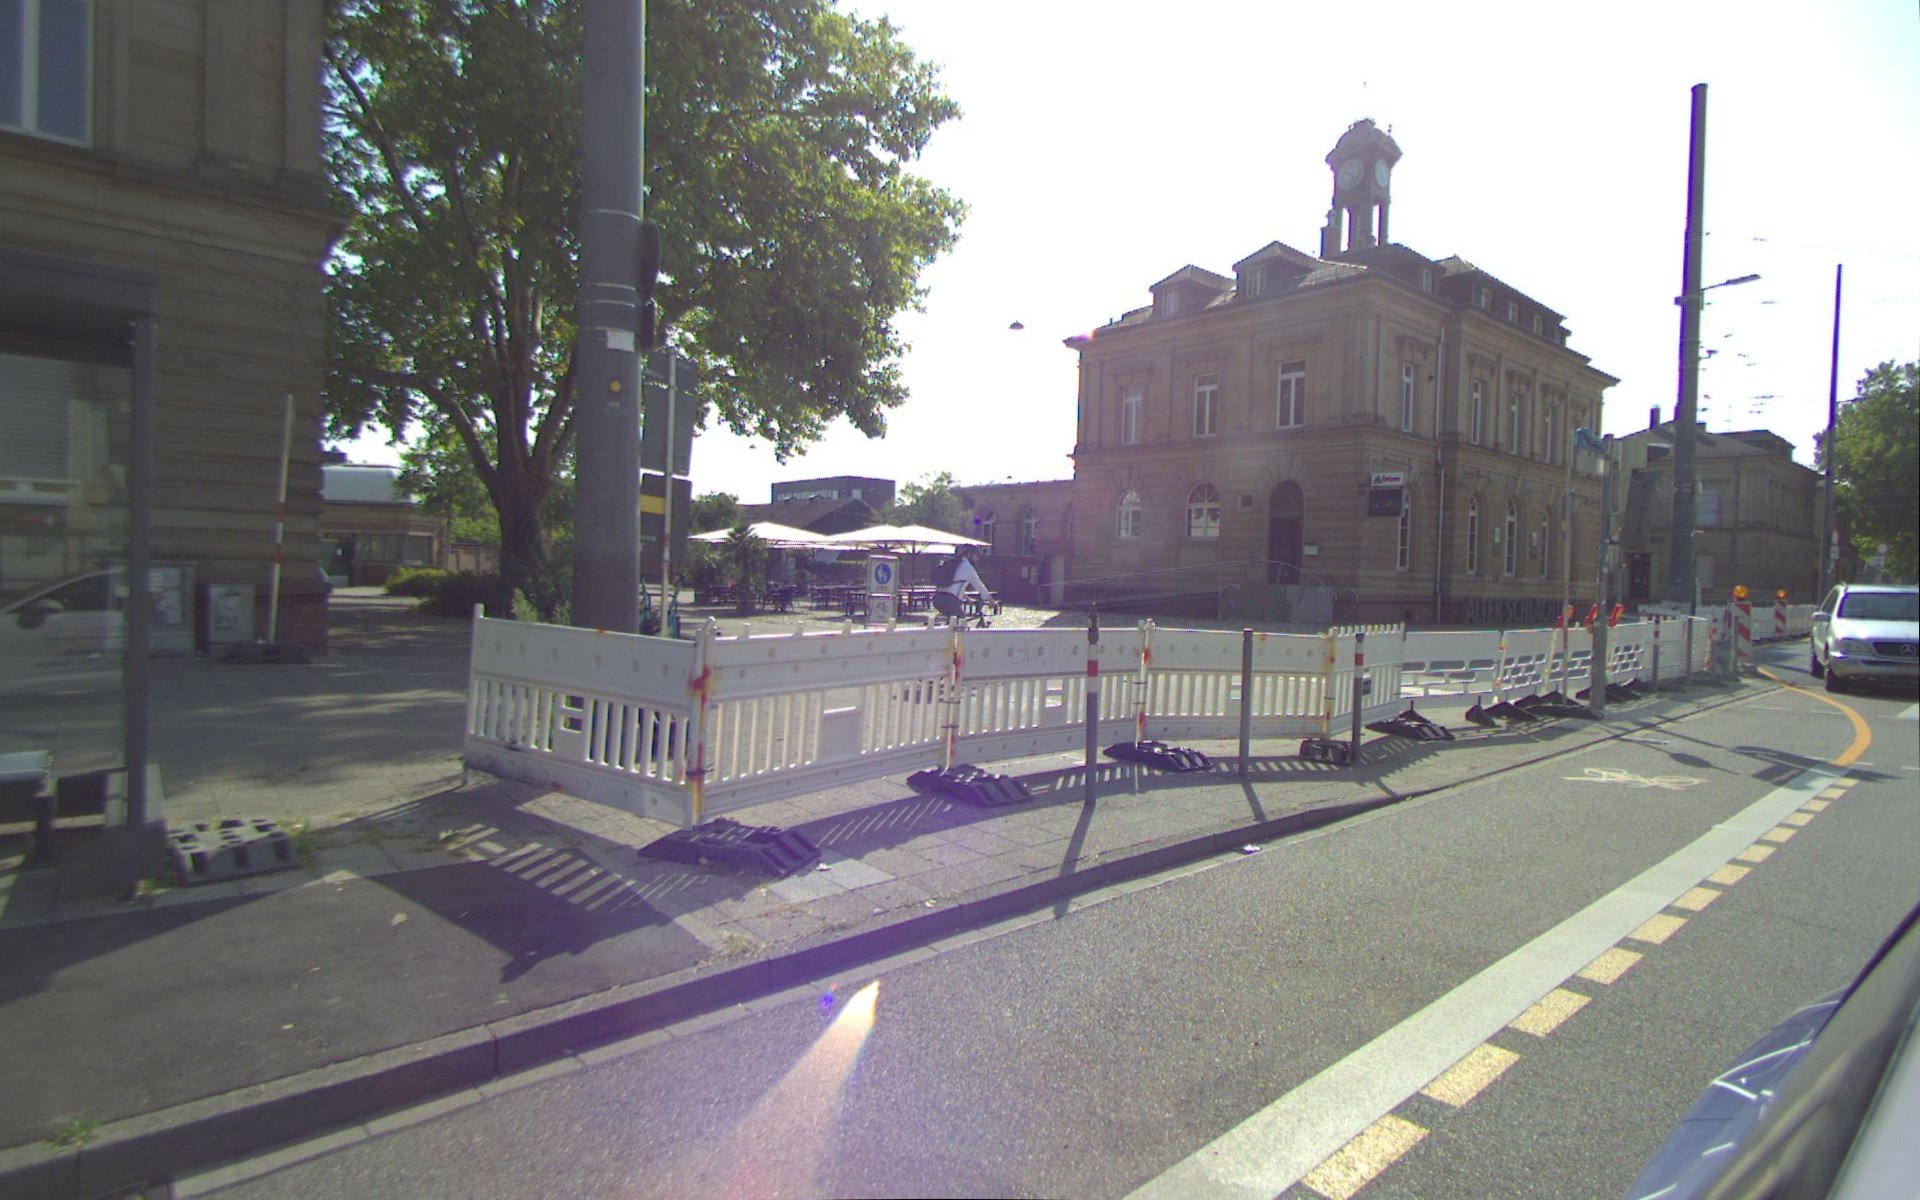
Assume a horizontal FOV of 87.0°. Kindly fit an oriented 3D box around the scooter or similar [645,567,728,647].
[{"bbox_3d":[-4.466,0.113,16.551,1.228,1.225,0.423,3,1,-18],"label":"scooter or similar"}]

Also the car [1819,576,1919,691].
[{"bbox_3d":[16.249,0.505,17.455,1.993,1.716,5.146,4,3,42],"label":"car"}]

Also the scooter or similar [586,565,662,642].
[{"bbox_3d":[-5.778,0.053,17.399,1.242,1.225,0.419,4,1,26],"label":"scooter or similar"}]

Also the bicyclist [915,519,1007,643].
[{"bbox_3d":[0.018,-0.256,13.356,0.939,1.562,0.718,1,2,-43],"label":"bicyclist"}]

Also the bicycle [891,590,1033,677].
[{"bbox_3d":[0.049,0.419,13.413,1.870,1.055,0.718,1,2,-43],"label":"bicycle"}]

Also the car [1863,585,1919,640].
[{"bbox_3d":[32.605,0.426,34.815,1.995,1.716,5.141,3,2,45],"label":"car"}]
